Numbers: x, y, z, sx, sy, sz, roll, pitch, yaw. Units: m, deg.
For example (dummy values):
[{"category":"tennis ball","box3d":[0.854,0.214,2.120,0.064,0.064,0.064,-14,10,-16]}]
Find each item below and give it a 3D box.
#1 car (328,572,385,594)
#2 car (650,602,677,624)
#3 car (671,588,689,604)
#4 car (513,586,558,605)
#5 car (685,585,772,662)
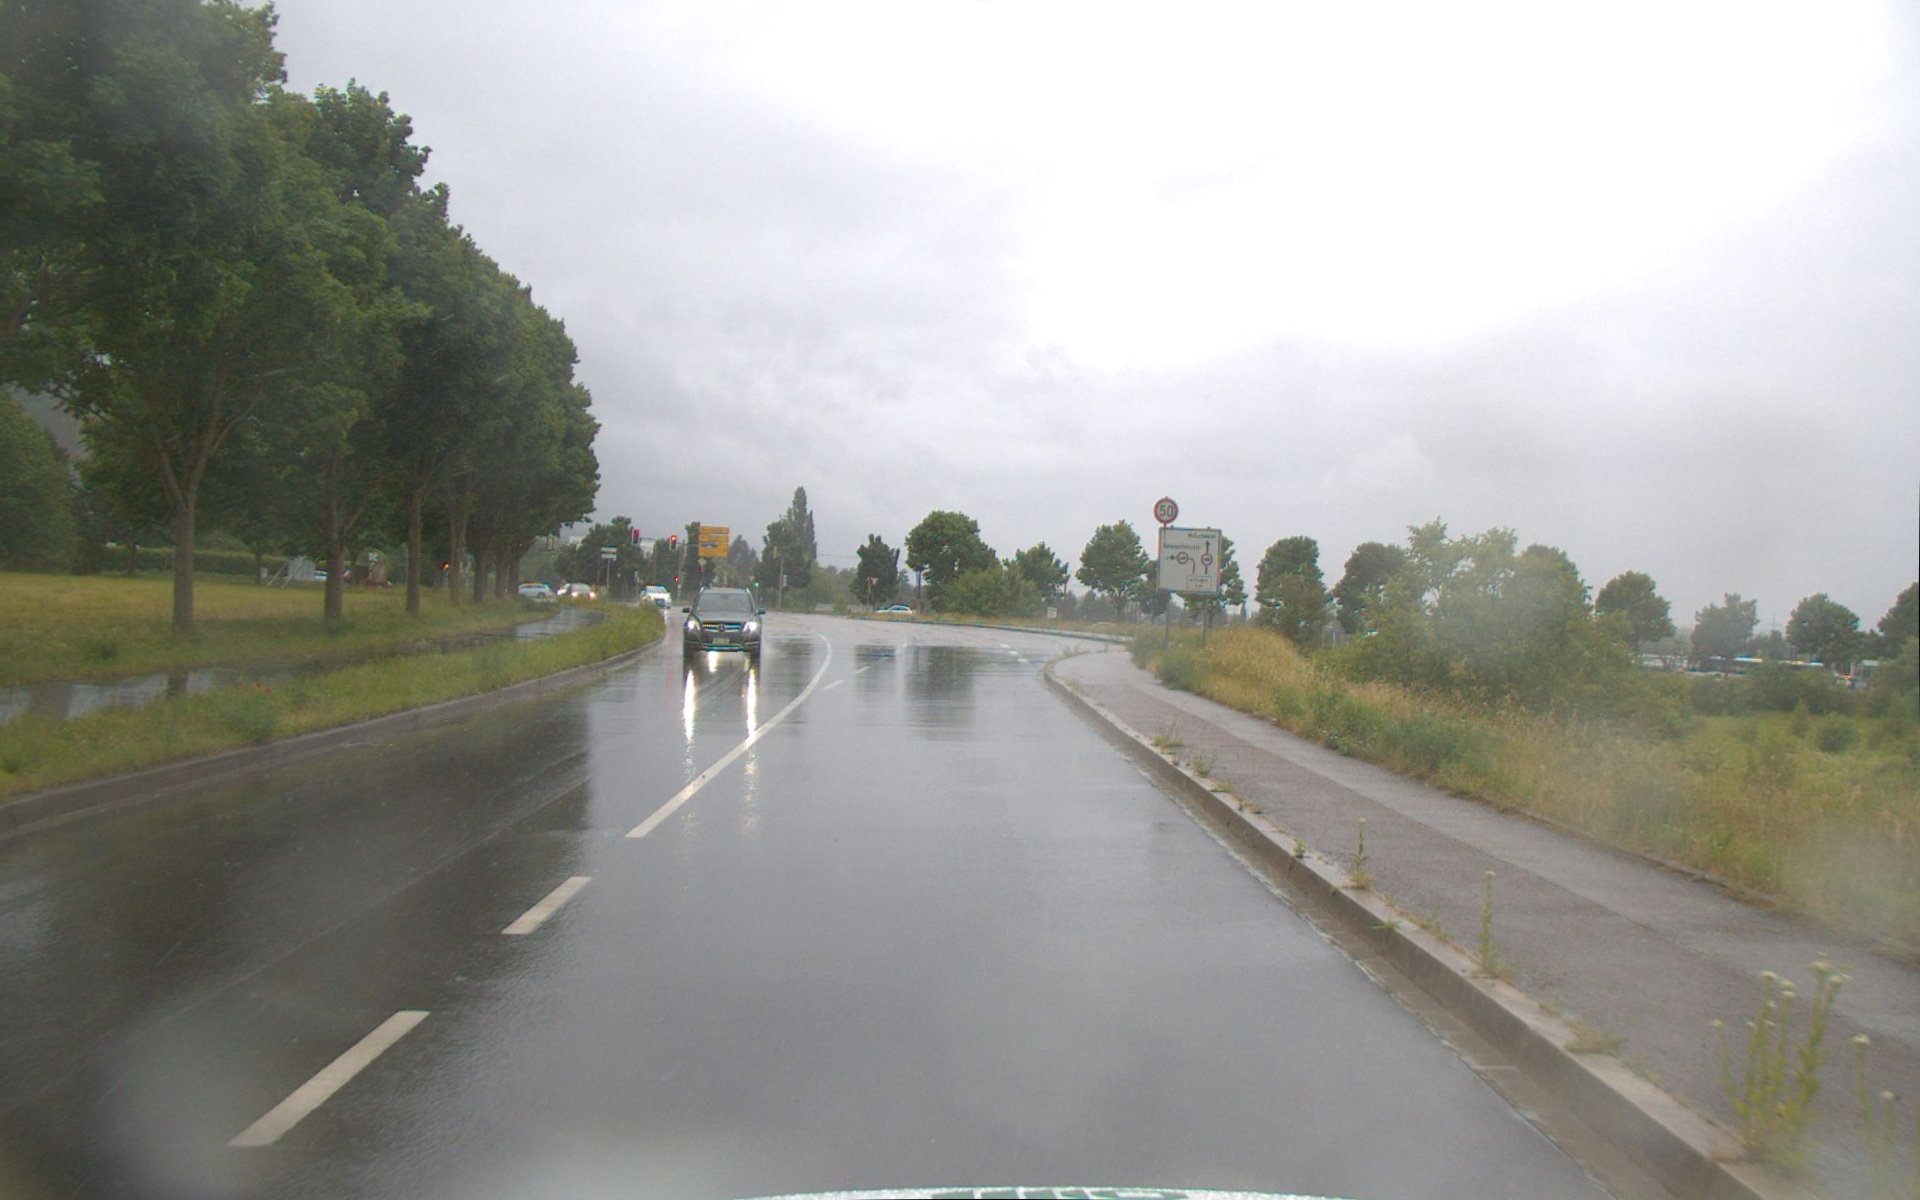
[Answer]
[{"category":"car","box3d":[-51.621,-1.456,141.526,4.302,1.607,1.726,3,-1,-14]},{"category":"car","box3d":[-20.336,0.883,113.597,1.707,1.513,4.003,1,0,-8]},{"category":"car","box3d":[-28.644,-0.387,169.061,1.707,1.513,4.003,1,0,-8]},{"category":"car","box3d":[-41.139,-0.405,160.431,4.164,1.607,1.726,3,-1,-14]},{"category":"car","box3d":[-5.523,0.545,39.911,1.706,1.734,4.220,1,0,-3]}]
